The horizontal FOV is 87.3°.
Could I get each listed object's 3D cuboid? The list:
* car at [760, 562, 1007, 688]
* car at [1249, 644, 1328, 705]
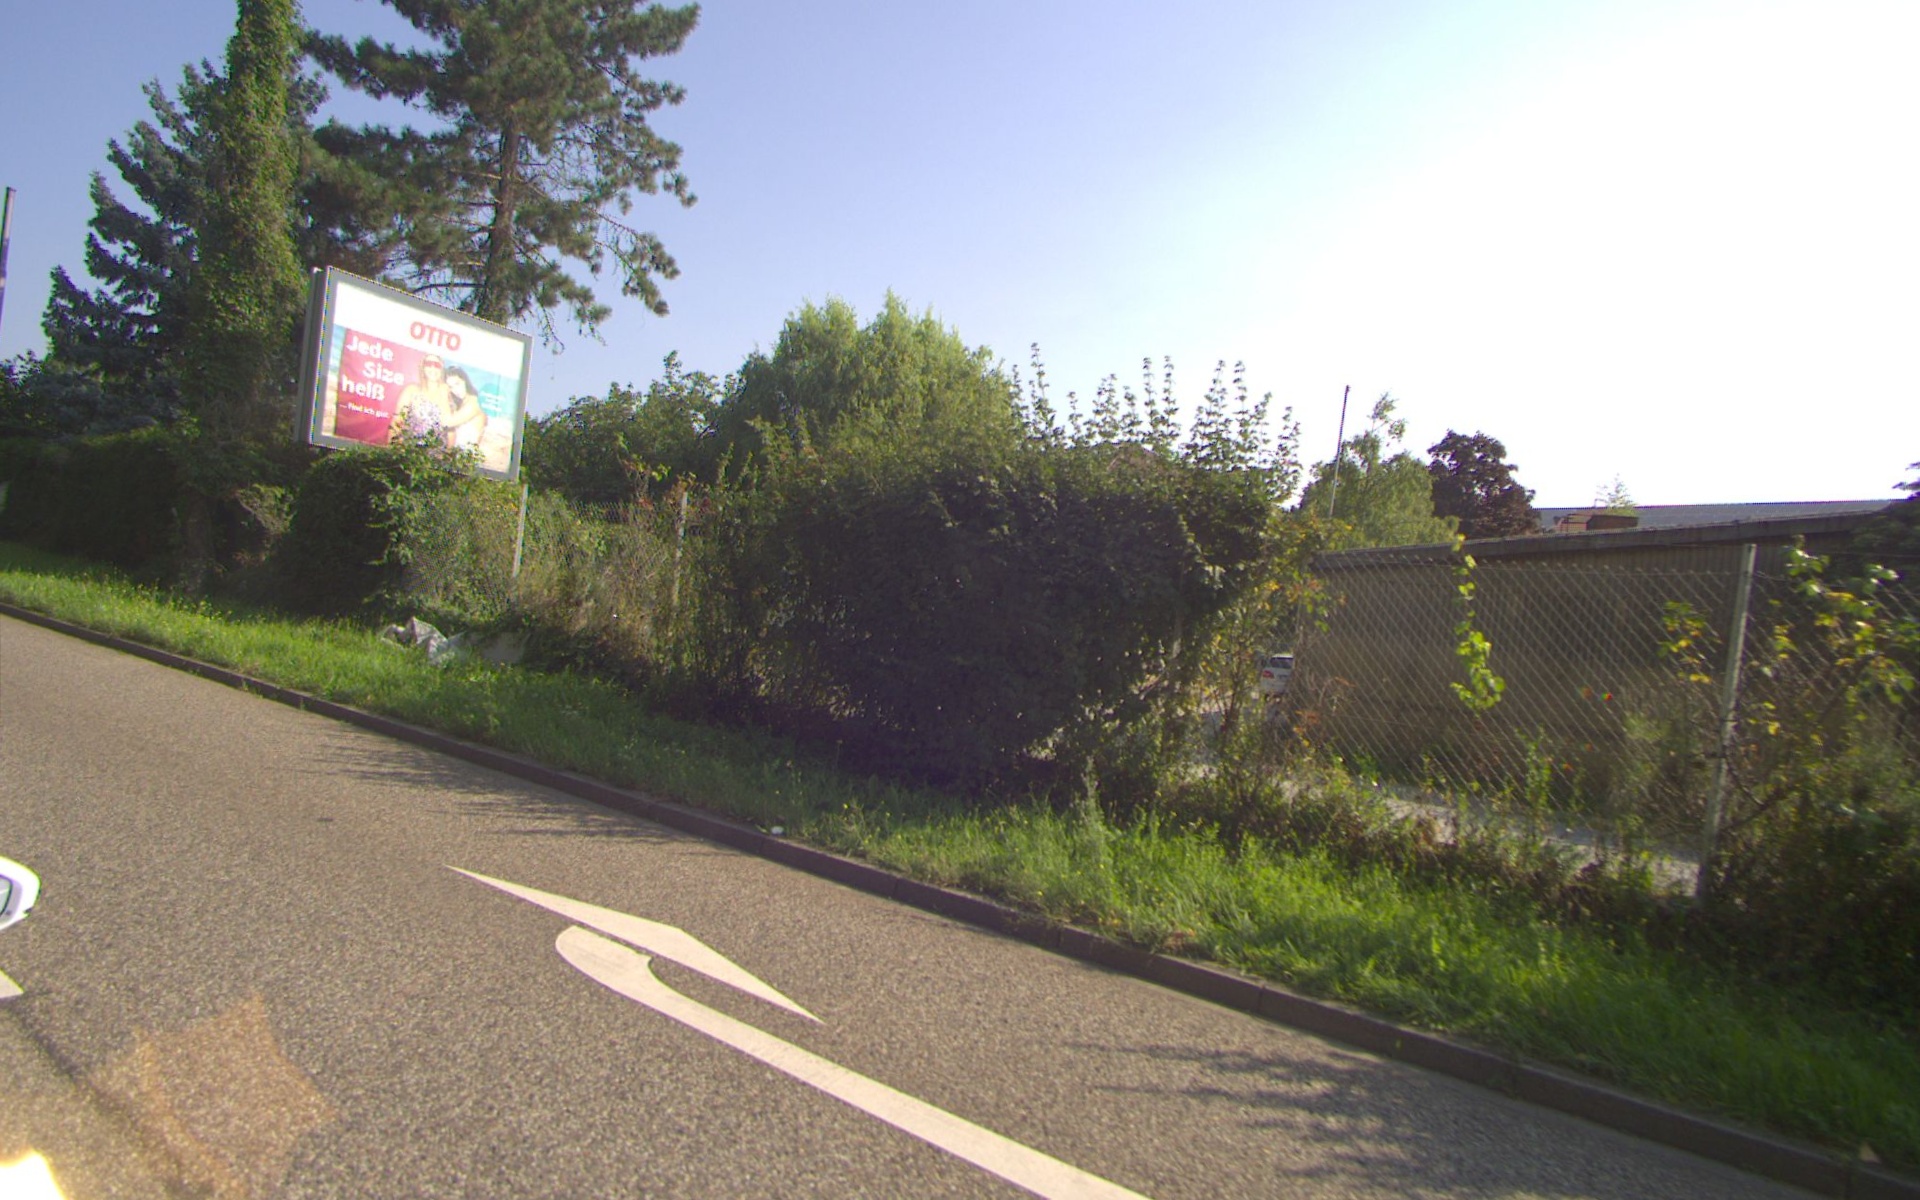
[{"bbox_3d":[-1.593,0.480,20.346,4.587,1.948,1.750,7,-1,28],"label":"car"},{"bbox_3d":[10.412,2.366,31.733,1.721,1.596,3.674,7,-1,27],"label":"car"}]
